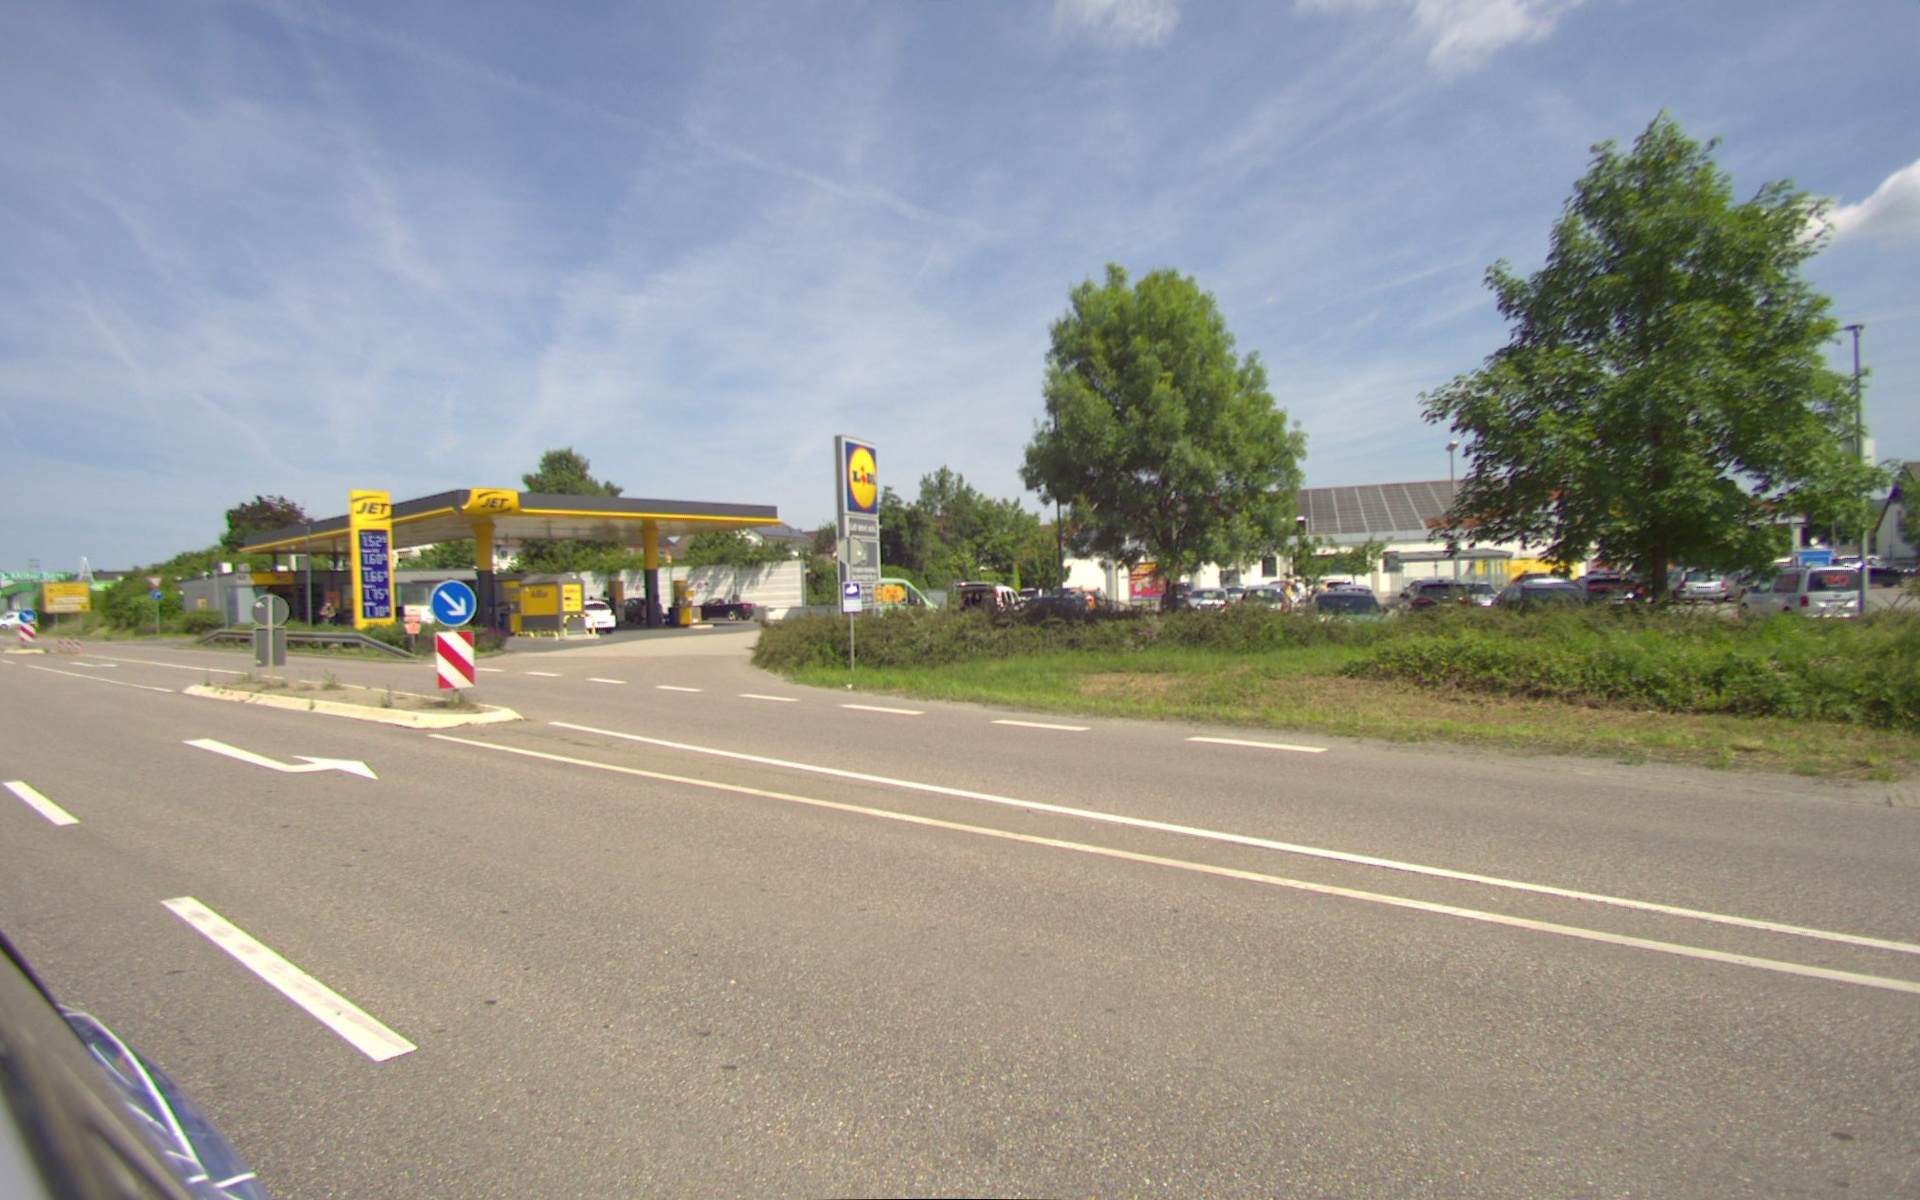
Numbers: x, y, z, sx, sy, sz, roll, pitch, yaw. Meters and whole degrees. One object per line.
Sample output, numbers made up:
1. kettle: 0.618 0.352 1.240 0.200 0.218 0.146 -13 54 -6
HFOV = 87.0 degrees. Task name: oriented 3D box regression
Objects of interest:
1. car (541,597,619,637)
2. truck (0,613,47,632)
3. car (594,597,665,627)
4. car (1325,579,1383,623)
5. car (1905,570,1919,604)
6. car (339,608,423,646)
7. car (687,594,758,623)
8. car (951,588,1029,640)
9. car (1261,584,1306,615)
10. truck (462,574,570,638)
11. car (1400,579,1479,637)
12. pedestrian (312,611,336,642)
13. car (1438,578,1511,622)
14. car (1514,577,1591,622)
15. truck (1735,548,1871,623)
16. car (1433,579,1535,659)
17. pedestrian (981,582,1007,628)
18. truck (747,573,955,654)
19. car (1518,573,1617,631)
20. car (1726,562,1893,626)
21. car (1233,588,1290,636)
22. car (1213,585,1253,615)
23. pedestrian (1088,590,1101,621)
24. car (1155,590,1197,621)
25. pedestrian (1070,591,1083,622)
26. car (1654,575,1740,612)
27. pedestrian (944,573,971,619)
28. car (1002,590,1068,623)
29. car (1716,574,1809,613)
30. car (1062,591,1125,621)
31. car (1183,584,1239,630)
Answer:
1. car: -17.145 0.796 45.579 4.001 1.741 1.713 -2 -3 44
2. truck: -112.050 2.696 120.410 1.996 2.024 4.716 -1 0 36
3. car: -18.699 0.703 57.270 3.862 1.625 1.735 -2 -1 31
4. car: 14.891 0.032 38.427 1.764 1.540 3.977 -1 0 17
5. car: 45.744 -0.591 45.567 4.223 1.553 1.869 0 0 18
6. car: -27.103 1.272 47.335 4.258 1.719 1.975 -2 -1 38
7. car: -14.181 0.526 60.398 3.851 1.625 1.740 -1 -1 23
8. car: 1.209 0.494 38.217 1.865 1.825 4.145 -1 0 17
9. car: 16.172 -0.038 50.752 1.868 1.453 3.981 -1 1 15
10. truck: -21.486 0.283 48.820 6.278 2.944 2.222 0 0 40
11. car: 15.280 0.212 32.428 1.898 1.687 3.974 -1 1 20
12. pedestrian: -30.775 1.274 48.998 0.901 1.438 0.495 0 0 -43
13. car: 18.947 -0.004 37.420 1.764 1.540 3.977 -1 0 17
14. car: 21.202 -0.022 36.345 1.767 1.540 3.972 -1 0 21
15. truck: 28.488 -0.458 34.373 1.981 2.383 3.982 -1 0 14
16. car: 12.033 0.399 23.435 1.683 1.670 3.971 -1 0 22
17. pedestrian: 1.203 0.175 35.678 0.801 1.587 0.701 -1 0 13
18. truck: -3.491 0.396 32.629 6.240 2.393 2.256 -1 -1 -24
19. car: 18.825 0.057 31.545 1.912 1.701 3.973 -1 0 20
20. car: 24.832 -0.159 29.813 1.981 1.708 4.408 -1 0 14
21. car: 10.499 0.371 35.090 1.769 1.513 4.122 -1 1 18
22. car: 13.935 -0.011 51.721 1.868 1.453 3.981 -1 1 15
23. pedestrian: 6.831 0.269 51.264 0.504 1.564 0.512 -1 0 29
24. car: 11.090 0.245 51.781 1.868 1.453 3.981 -1 1 15
25. pedestrian: 5.849 0.309 50.882 0.503 1.564 0.513 -1 0 26
26. car: 32.120 -0.270 44.244 1.865 1.553 4.231 -1 0 20
27. pedestrian: -0.096 -0.145 35.984 0.801 1.587 0.701 -1 0 13
28. car: 4.046 0.324 53.998 1.765 1.551 3.956 -2 0 33
29. car: 34.535 -0.274 43.699 1.865 1.553 4.231 -1 0 20
30. car: 7.137 0.299 53.806 1.879 1.453 3.958 -1 1 31
31. car: 9.956 0.245 39.973 1.850 1.688 4.399 -1 0 18
